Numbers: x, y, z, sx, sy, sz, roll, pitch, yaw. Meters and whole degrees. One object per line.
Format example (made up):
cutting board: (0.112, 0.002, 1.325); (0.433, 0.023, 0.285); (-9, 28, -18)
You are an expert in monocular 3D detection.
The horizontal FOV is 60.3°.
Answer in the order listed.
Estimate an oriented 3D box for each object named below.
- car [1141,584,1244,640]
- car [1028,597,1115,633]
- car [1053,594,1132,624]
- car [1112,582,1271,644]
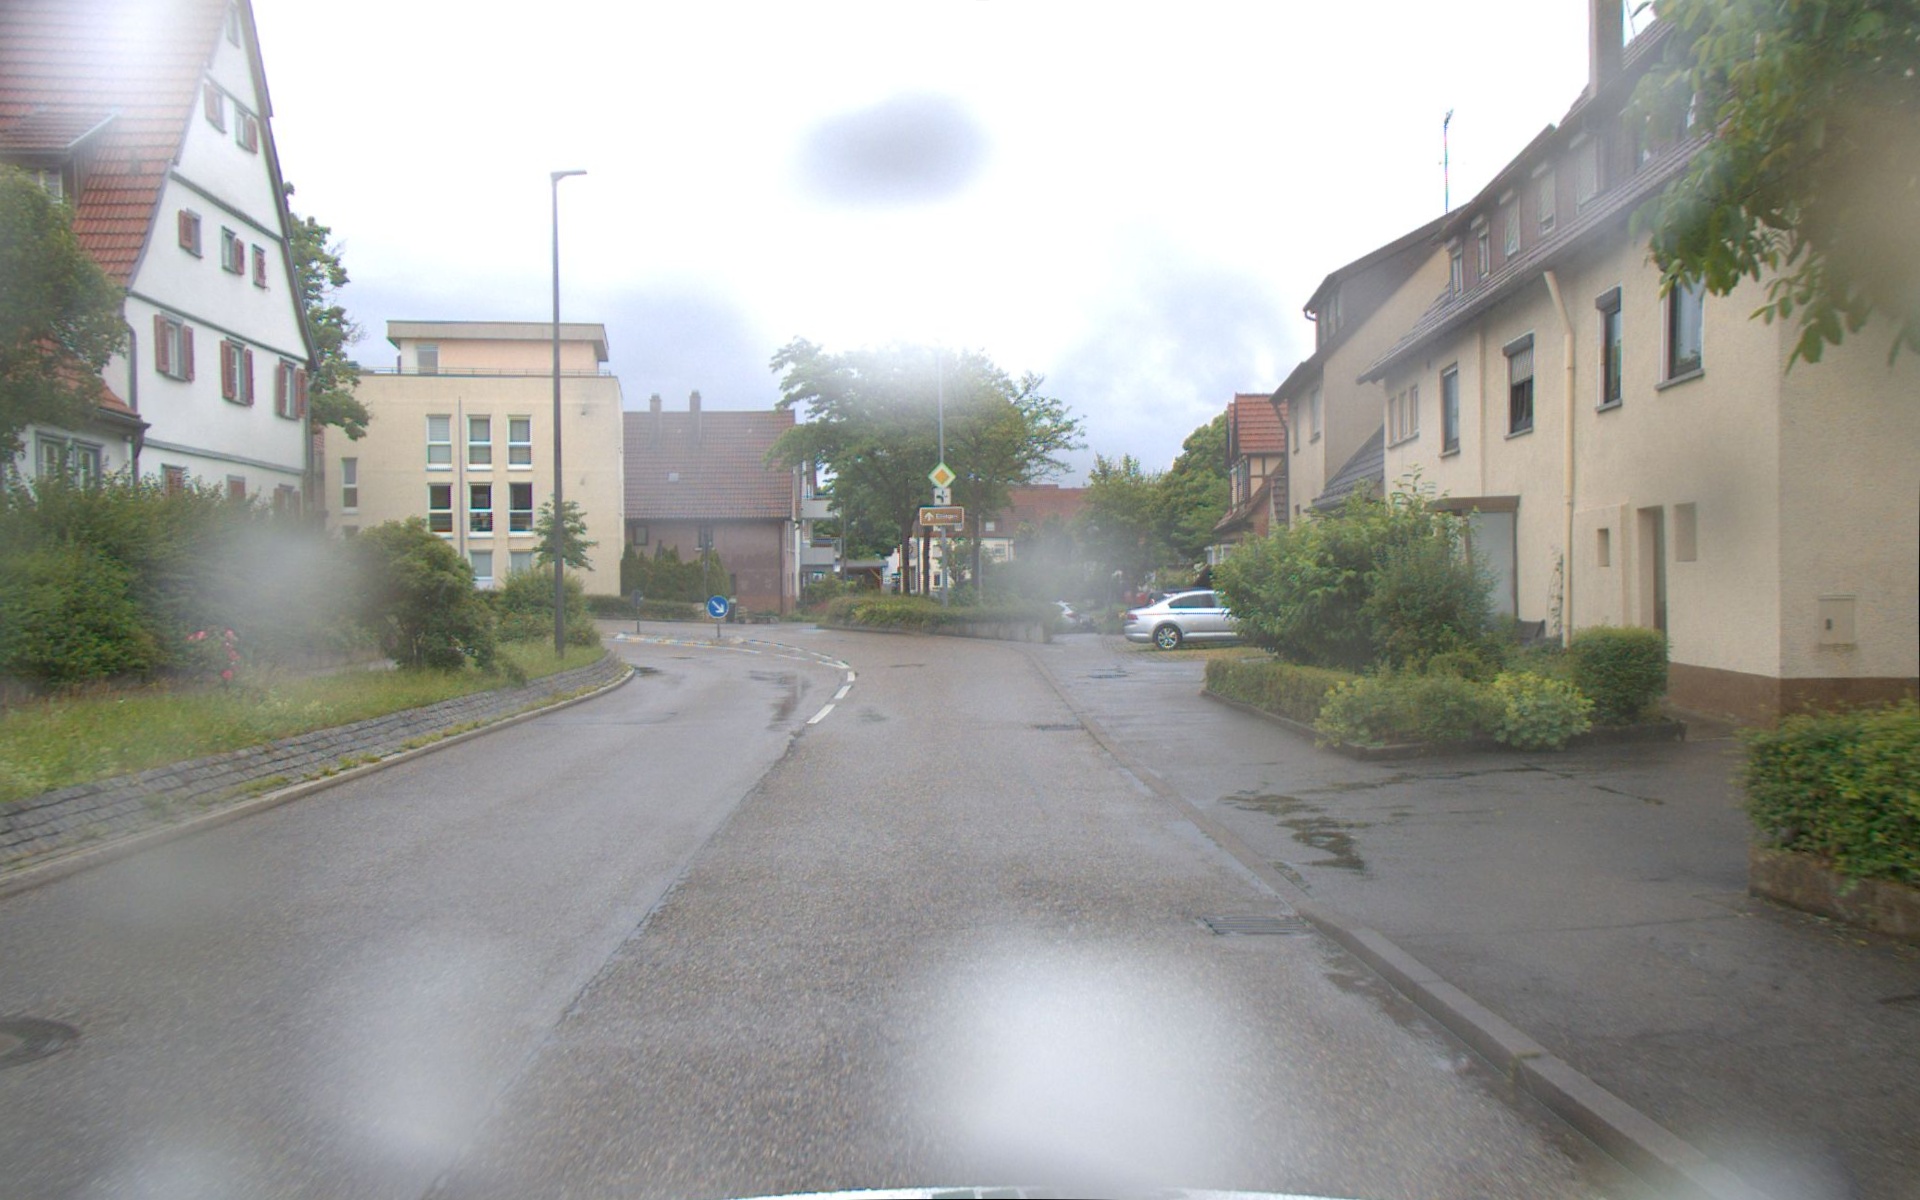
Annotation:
car: (6.709, 0.336, 47.684); (2.848, 1.550, 1.392); (-1, 0, 12)
car: (5.316, 0.694, 78.941); (3.901, 1.654, 2.002); (-1, 0, 11)
car: (6.754, 0.436, 84.298); (3.902, 1.444, 2.002); (-1, 0, 7)
car: (5.907, 0.335, 42.135); (3.869, 1.433, 2.002); (-2, 0, 9)
